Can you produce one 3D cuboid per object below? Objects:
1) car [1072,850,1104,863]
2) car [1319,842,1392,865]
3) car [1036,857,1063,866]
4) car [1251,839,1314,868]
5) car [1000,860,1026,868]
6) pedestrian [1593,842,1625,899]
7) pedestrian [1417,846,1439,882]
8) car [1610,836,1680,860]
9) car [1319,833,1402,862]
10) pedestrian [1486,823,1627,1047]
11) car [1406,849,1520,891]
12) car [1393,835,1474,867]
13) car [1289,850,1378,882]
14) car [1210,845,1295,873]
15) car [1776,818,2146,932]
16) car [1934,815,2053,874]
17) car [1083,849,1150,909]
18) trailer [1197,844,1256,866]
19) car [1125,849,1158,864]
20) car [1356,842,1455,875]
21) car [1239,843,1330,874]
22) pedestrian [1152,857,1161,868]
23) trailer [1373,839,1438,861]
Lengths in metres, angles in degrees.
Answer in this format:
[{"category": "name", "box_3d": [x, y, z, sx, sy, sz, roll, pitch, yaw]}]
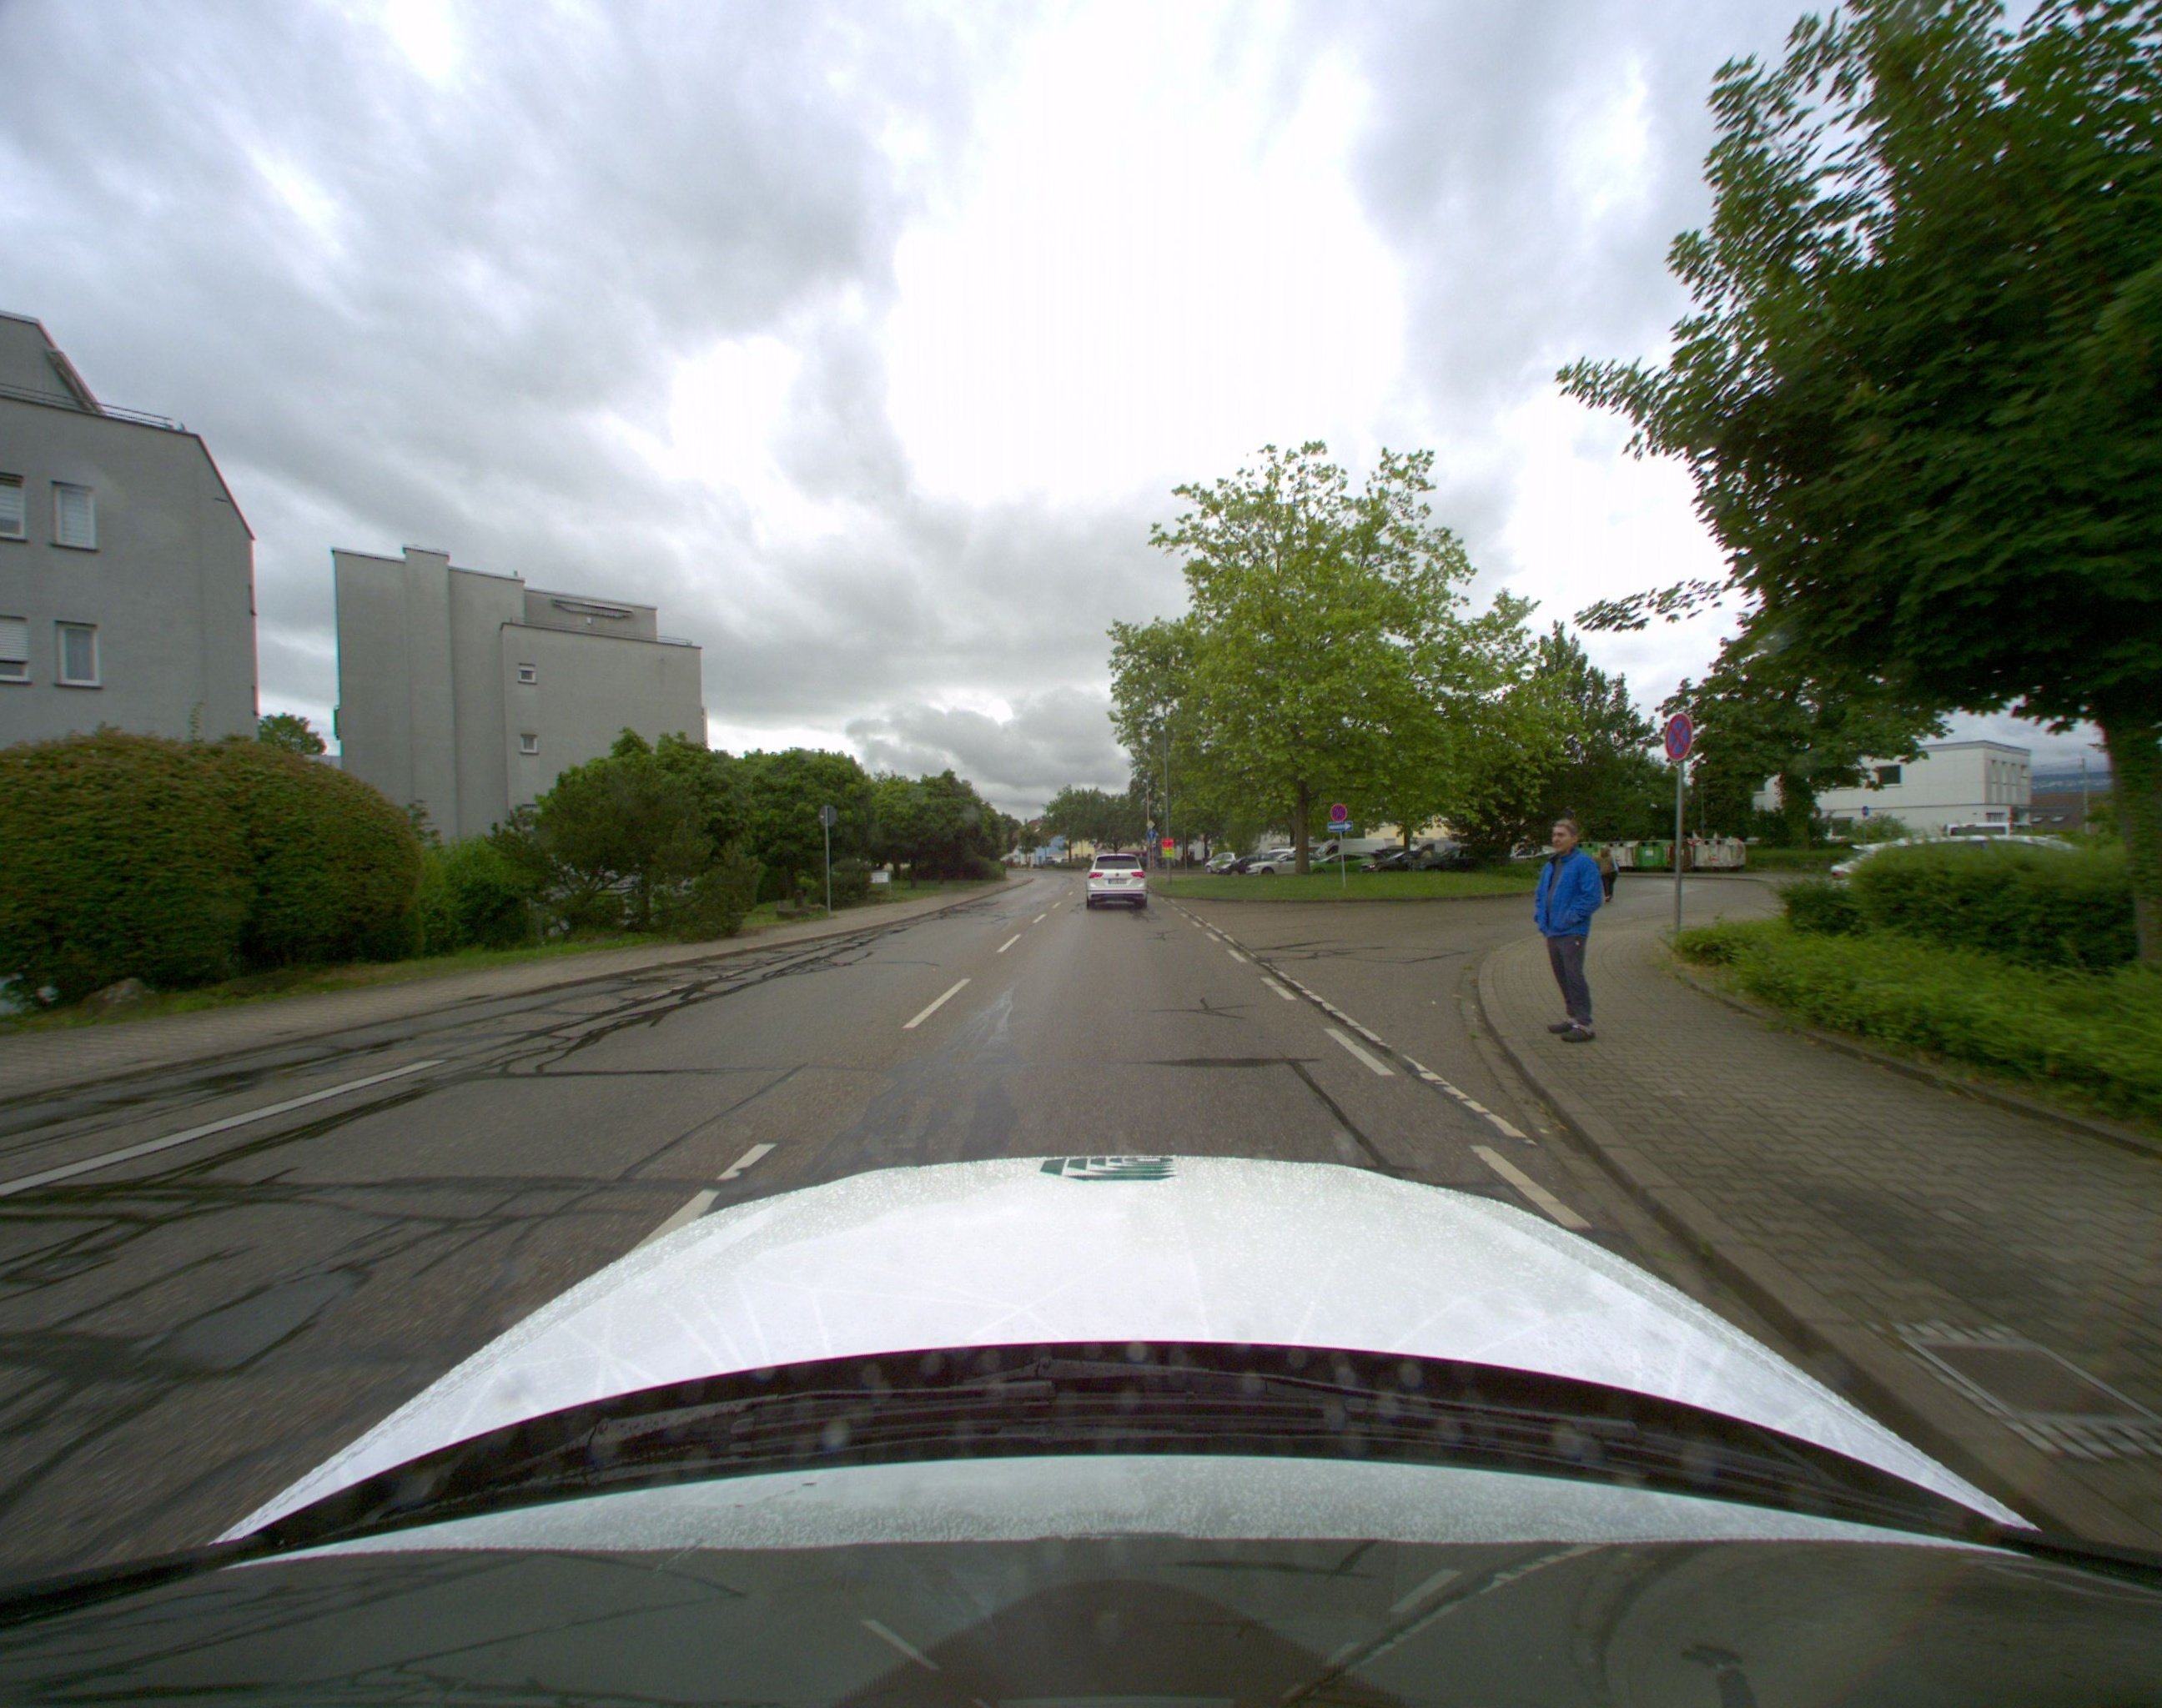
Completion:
[{"category": "car", "box_3d": [1.048, 0.376, 118.402, 4.208, 1.671, 1.971, -2, 0, -32]}, {"category": "car", "box_3d": [17.319, -0.021, 51.475, 1.773, 1.382, 4.143, -2, 0, -33]}, {"category": "car", "box_3d": [-4.971, 1.168, 127.312, 4.018, 1.387, 1.656, -1, 0, -37]}, {"category": "car", "box_3d": [14.097, -0.017, 57.134, 2.005, 1.881, 4.173, -2, 0, -29]}, {"category": "car", "box_3d": [-11.785, 1.706, 141.128, 4.341, 1.260, 1.659, 0, 0, -43]}, {"category": "pedestrian", "box_3d": [15.200, 0.467, 23.437, 0.728, 1.583, 0.956, -1, 0, 34]}, {"category": "pedestrian", "box_3d": [16.059, 0.452, 37.707, 0.734, 1.652, 0.588, -2, 0, 5]}, {"category": "car", "box_3d": [39.211, -0.406, 56.661, 3.615, 1.530, 1.703, -2, 0, 14]}, {"category": "car", "box_3d": [21.833, -0.497, 63.722, 5.819, 2.013, 1.994, -2, 0, -9]}, {"category": "pedestrian", "box_3d": [3.798, 0.605, 6.548, 0.590, 1.666, 0.772, -1, 0, -15]}, {"category": "car", "box_3d": [16.895, 0.705, 36.206, 4.251, 1.626, 1.770, -2, 0, 12]}, {"category": "car", "box_3d": [24.458, -0.199, 56.522, 4.743, 2.013, 1.996, -2, 0, -5]}, {"category": "car", "box_3d": [13.065, 0.589, 42.272, 4.002, 1.443, 1.762, -2, 0, -4]}, {"category": "car", "box_3d": [9.984, 0.279, 47.606, 4.564, 1.443, 1.762, -2, 0, -4]}, {"category": "car", "box_3d": [13.601, 0.299, 12.800, 1.754, 1.480, 3.728, -3, 0, -35]}, {"category": "car", "box_3d": [34.072, -0.380, 30.382, 5.014, 2.013, 2.065, -2, 0, -32]}, {"category": "car", "box_3d": [1.108, 0.712, 25.489, 1.858, 1.650, 4.002, -2, 0, 2]}, {"category": "trailer", "box_3d": [11.096, 0.125, 62.328, 2.007, 1.543, 4.381, -2, 0, -32]}, {"category": "car", "box_3d": [7.962, 0.323, 107.133, 4.017, 1.721, 1.904, -2, 0, -35]}, {"category": "car", "box_3d": [15.472, 0.201, 38.947, 4.002, 1.371, 1.762, -2, 0, -4]}, {"category": "car", "box_3d": [11.204, 0.241, 45.049, 4.564, 1.443, 1.762, -2, 0, -4]}, {"category": "pedestrian", "box_3d": [7.353, 0.820, 79.500, 0.748, 1.011, 0.550, -2, 0, -7]}, {"category": "trailer", "box_3d": [23.329, -0.272, 58.631, 3.971, 1.437, 1.713, -2, 0, 2]}]
